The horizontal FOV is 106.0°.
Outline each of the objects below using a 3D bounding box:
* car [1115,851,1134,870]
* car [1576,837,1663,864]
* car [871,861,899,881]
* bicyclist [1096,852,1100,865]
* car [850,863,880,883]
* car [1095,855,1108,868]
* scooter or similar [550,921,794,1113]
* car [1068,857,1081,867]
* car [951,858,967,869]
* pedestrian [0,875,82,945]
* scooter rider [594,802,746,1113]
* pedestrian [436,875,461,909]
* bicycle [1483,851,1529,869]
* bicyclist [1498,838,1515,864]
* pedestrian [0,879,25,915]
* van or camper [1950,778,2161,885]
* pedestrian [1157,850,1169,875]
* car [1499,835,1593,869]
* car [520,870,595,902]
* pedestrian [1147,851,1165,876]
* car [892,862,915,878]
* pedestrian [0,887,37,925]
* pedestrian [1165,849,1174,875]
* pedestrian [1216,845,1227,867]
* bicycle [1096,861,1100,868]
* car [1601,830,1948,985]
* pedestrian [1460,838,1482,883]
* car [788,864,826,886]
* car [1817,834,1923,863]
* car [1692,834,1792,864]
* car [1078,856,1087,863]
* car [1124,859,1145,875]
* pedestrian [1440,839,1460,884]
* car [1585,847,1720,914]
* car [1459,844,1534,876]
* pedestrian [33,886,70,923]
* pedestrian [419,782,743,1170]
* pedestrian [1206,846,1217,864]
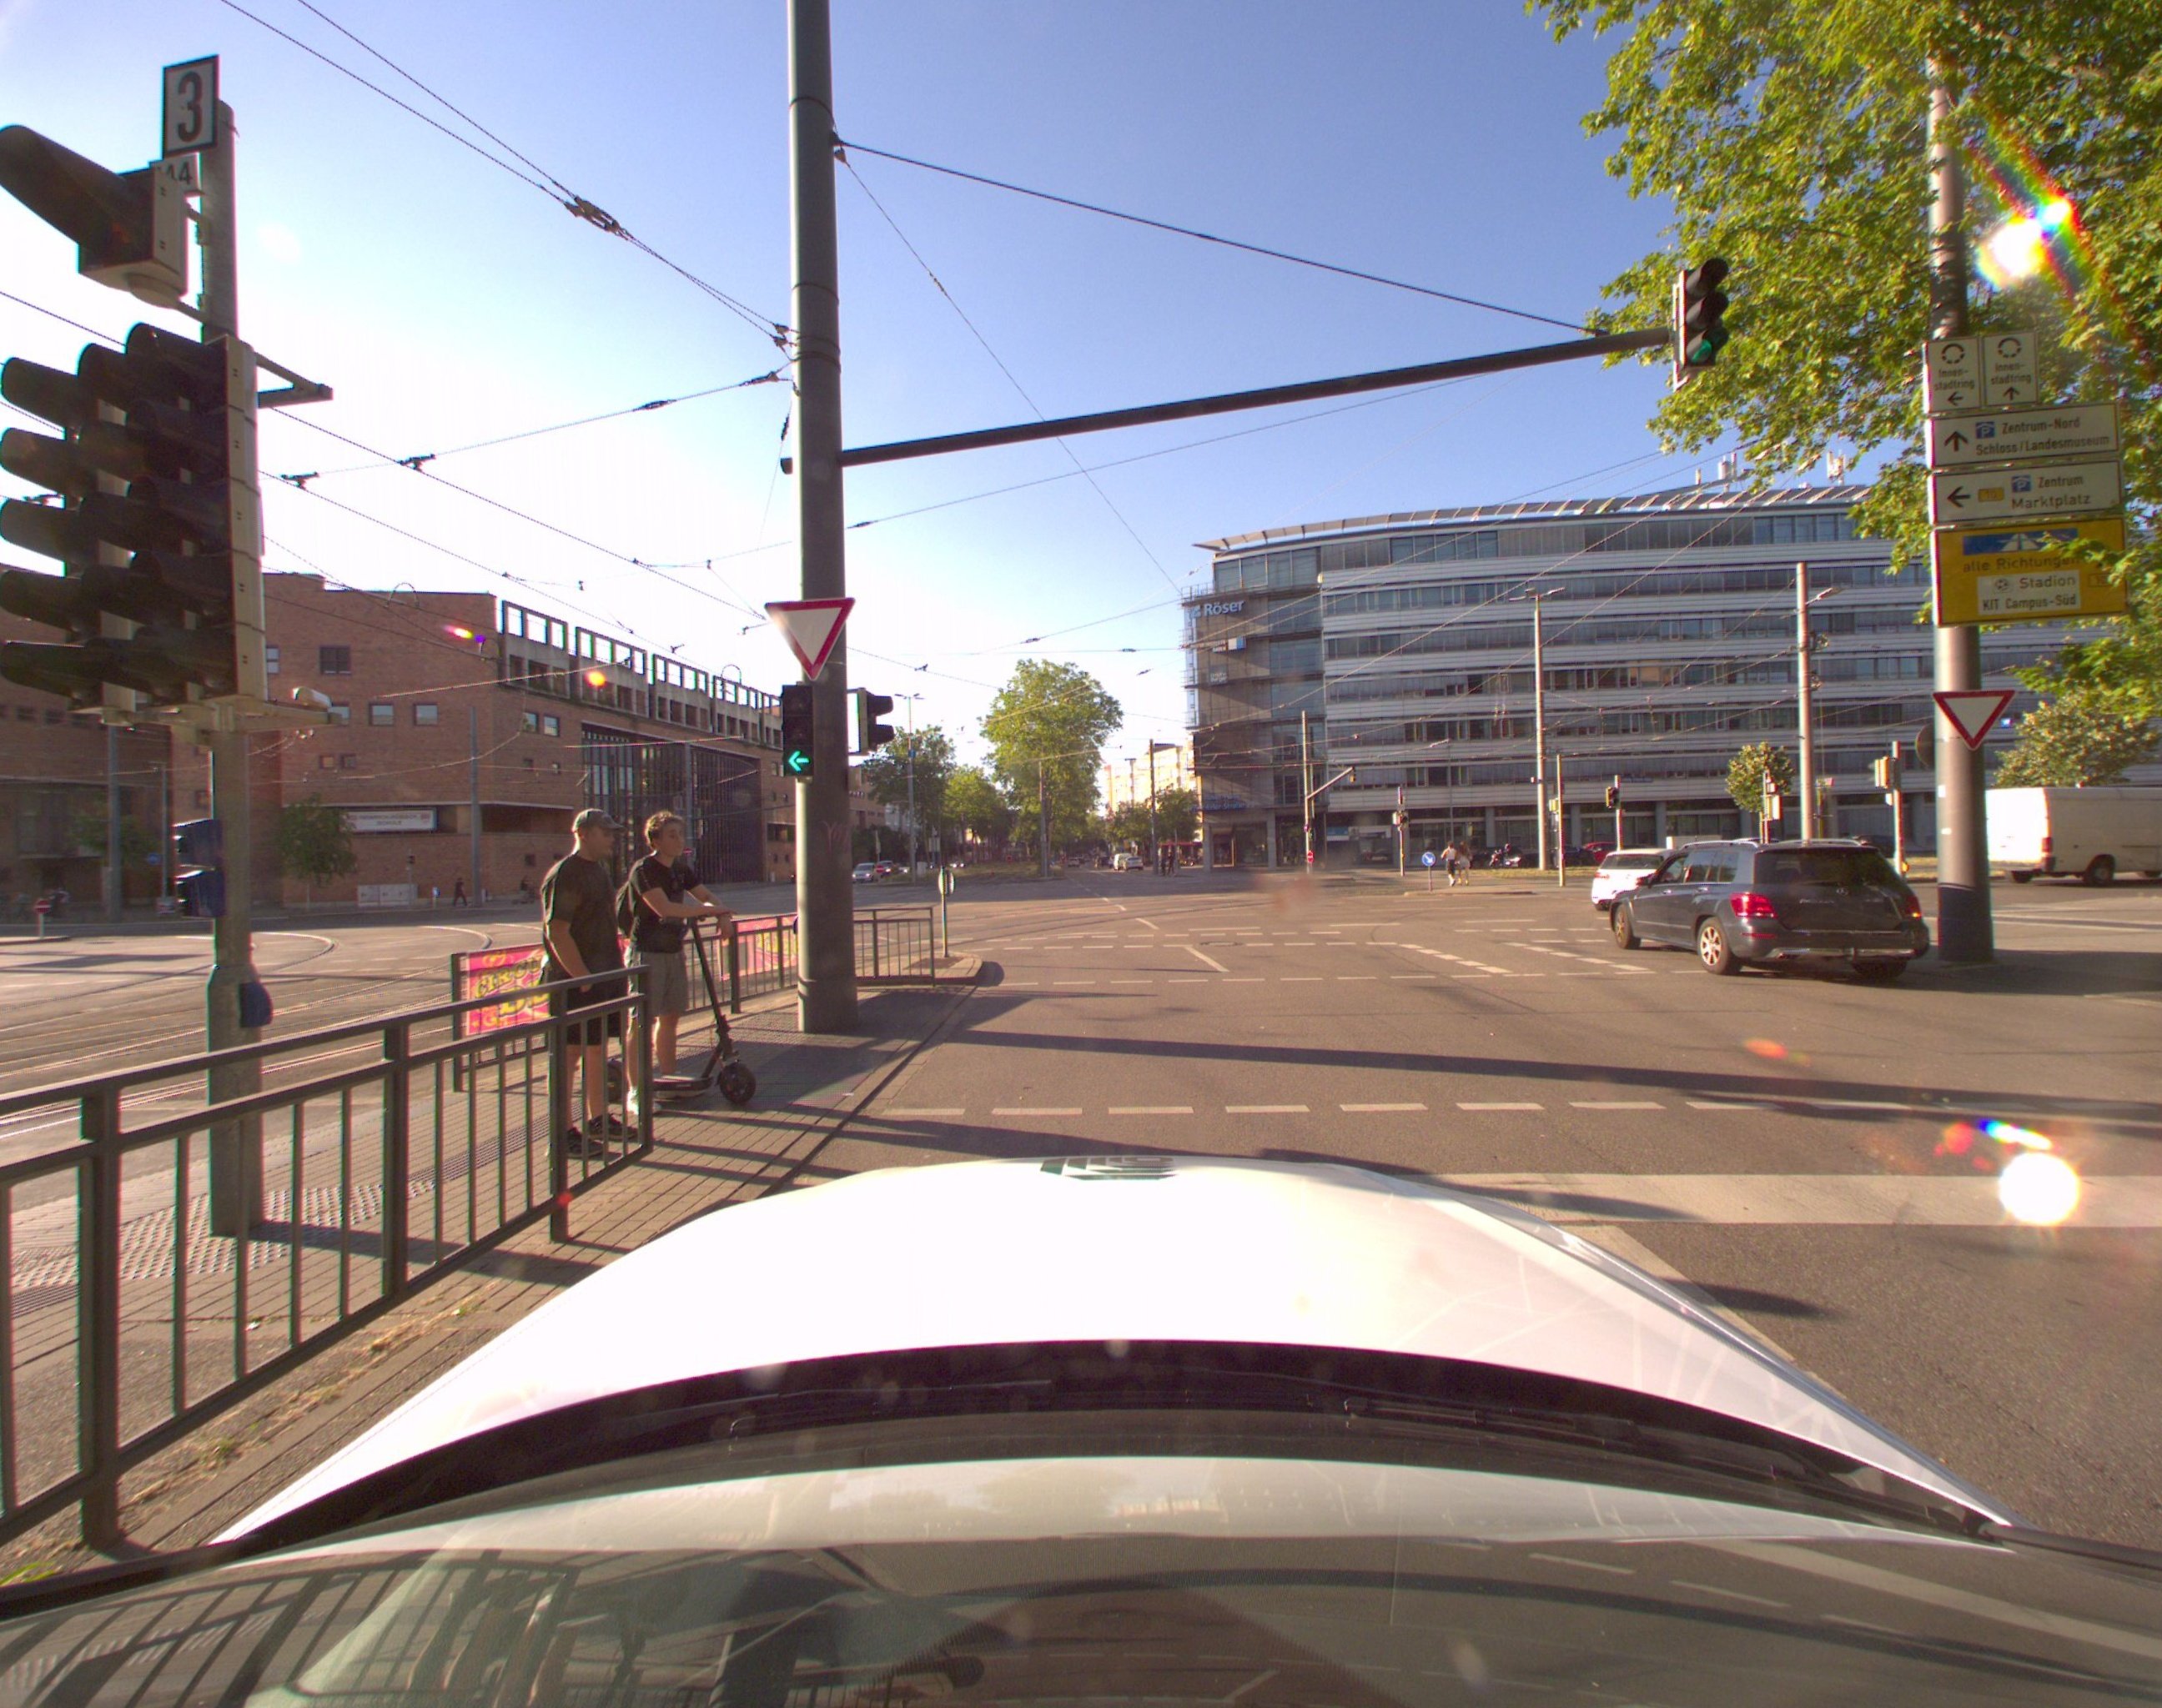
[{"bbox_3d":[4.745,0.733,89.524,1.986,2.014,4.001,0,-1,2],"label":"car"},{"bbox_3d":[31.982,-0.213,48.465,3.966,1.552,1.800,-1,-1,6],"label":"car"},{"bbox_3d":[-18.089,1.542,75.268,1.819,1.790,3.994,-2,0,-4],"label":"car"},{"bbox_3d":[1.892,0.488,91.085,0.485,1.440,0.615,0,-2,1],"label":"bicyclist"},{"bbox_3d":[-17.919,1.543,67.760,1.618,1.577,3.994,-2,0,-4],"label":"car"},{"bbox_3d":[3.209,1.189,126.700,1.986,2.014,4.001,0,-1,2],"label":"car"},{"bbox_3d":[-2.582,1.011,5.219,1.196,1.081,0.649,-2,0,5],"label":"scooter or similar"},{"bbox_3d":[-0.994,1.215,126.722,1.740,1.418,4.004,-1,1,4],"label":"car"},{"bbox_3d":[-21.146,1.702,141.285,1.837,1.783,4.002,-2,0,2],"label":"car"},{"bbox_3d":[-31.058,1.636,24.267,1.029,2.014,1.208,0,-1,1],"label":"pedestrian"},{"bbox_3d":[-2.615,0.630,5.231,0.563,1.853,0.681,-2,-2,6],"label":"scooter rider"},{"bbox_3d":[-36.240,2.193,46.690,0.721,1.902,0.875,0,-1,-1],"label":"pedestrian"},{"bbox_3d":[25.540,0.349,48.950,2.397,1.022,0.638,-2,0,6],"label":"bicycle"},{"bbox_3d":[25.568,-0.188,48.949,0.660,1.503,0.614,-2,-1,7],"label":"bicyclist"},{"bbox_3d":[-60.615,2.434,45.816,1.155,2.013,0.910,-2,-1,-2],"label":"pedestrian"},{"bbox_3d":[27.547,-0.624,21.959,6.465,2.614,2.003,-2,0,-5],"label":"van or camper"},{"bbox_3d":[6.450,0.680,64.211,0.846,2.014,0.708,0,-1,2],"label":"pedestrian"},{"bbox_3d":[26.359,-0.119,46.301,4.234,1.723,1.886,-2,0,4],"label":"car"},{"bbox_3d":[-36.613,2.185,57.046,1.981,2.013,4.205,-2,0,11],"label":"car"},{"bbox_3d":[6.103,0.781,66.054,1.337,1.950,1.011,-2,-1,1],"label":"pedestrian"},{"bbox_3d":[-18.122,1.604,83.216,1.673,1.607,3.994,0,-1,-4],"label":"car"},{"bbox_3d":[-61.203,2.989,46.888,1.003,2.052,0.850,-2,-1,-1],"label":"pedestrian"},{"bbox_3d":[6.825,0.613,62.891,0.584,2.014,0.620,0,-1,2],"label":"pedestrian"},{"bbox_3d":[12.976,0.185,75.050,0.866,2.014,0.794,0,-2,1],"label":"pedestrian"},{"bbox_3d":[1.901,1.170,91.093,0.489,0.788,1.862,-1,-1,2],"label":"bicycle"},{"bbox_3d":[8.745,0.574,10.840,1.752,1.636,4.265,-1,0,13],"label":"car"},{"bbox_3d":[15.350,0.254,32.070,0.677,1.759,0.746,-2,-1,22],"label":"pedestrian"},{"bbox_3d":[-26.805,2.029,79.822,1.867,2.013,4.476,-2,0,4],"label":"car"},{"bbox_3d":[45.329,-0.281,46.867,4.097,1.596,1.884,0,-1,5],"label":"car"},{"bbox_3d":[36.663,-0.272,45.250,3.968,1.596,1.884,0,-1,5],"label":"car"},{"bbox_3d":[0.242,1.073,170.801,1.759,1.404,4.293,-1,0,-2],"label":"car"},{"bbox_3d":[5.422,1.279,82.755,2.022,1.596,4.001,0,-1,2],"label":"car"},{"bbox_3d":[14.632,0.288,32.298,0.671,1.758,0.746,-1,2,26],"label":"pedestrian"},{"bbox_3d":[13.642,0.563,19.366,4.006,1.428,1.621,-1,0,-40],"label":"car"},{"bbox_3d":[27.713,0.406,54.373,3.972,2.014,2.001,0,-1,2],"label":"car"},{"bbox_3d":[-59.194,2.883,46.830,1.003,2.052,0.850,-2,-1,-1],"label":"pedestrian"},{"bbox_3d":[-2.655,0.614,4.443,1.161,1.884,0.856,-2,-1,6],"label":"pedestrian"},{"bbox_3d":[16.260,0.177,101.363,1.305,2.190,1.173,-1,-1,8],"label":"pedestrian"}]
